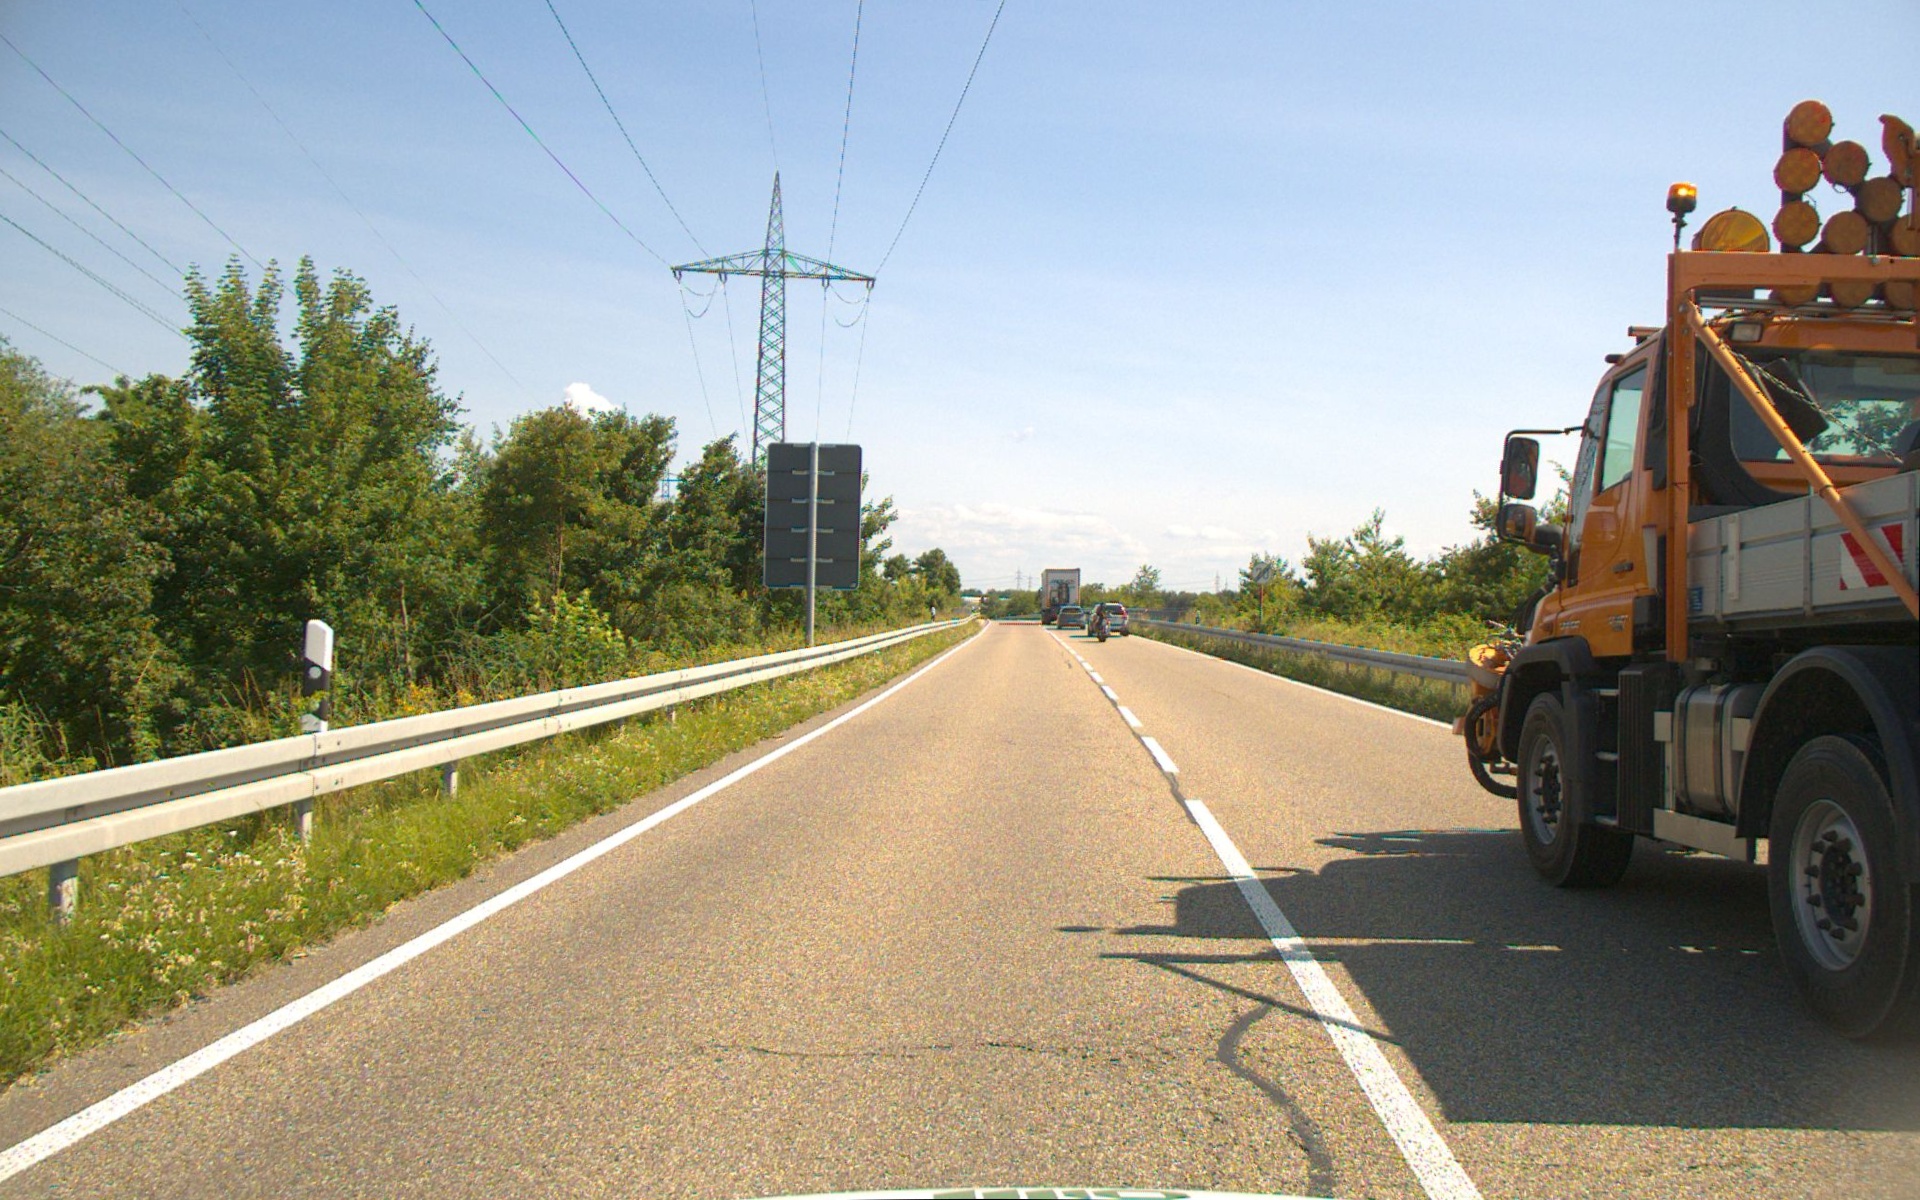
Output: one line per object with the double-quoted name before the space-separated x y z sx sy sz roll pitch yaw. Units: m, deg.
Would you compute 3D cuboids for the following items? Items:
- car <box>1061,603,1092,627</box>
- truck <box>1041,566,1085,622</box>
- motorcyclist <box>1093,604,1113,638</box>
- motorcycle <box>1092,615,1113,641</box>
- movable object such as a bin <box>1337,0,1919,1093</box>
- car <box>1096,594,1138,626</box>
"car" 7.222 0.913 102.826 1.827 1.445 4.001 1 0 3
"truck" 7.836 -0.395 125.982 3.174 4.048 9.447 1 0 3
"motorcyclist" 5.794 0.833 66.982 0.764 1.349 0.813 0 0 3
"motorcycle" 5.780 1.107 66.962 0.764 0.993 2.362 0 0 3
"movable object such as a bin" 4.443 -0.461 9.511 2.696 3.906 9.447 0 0 2
"car" 7.493 0.441 79.243 1.787 1.477 4.001 1 0 2
